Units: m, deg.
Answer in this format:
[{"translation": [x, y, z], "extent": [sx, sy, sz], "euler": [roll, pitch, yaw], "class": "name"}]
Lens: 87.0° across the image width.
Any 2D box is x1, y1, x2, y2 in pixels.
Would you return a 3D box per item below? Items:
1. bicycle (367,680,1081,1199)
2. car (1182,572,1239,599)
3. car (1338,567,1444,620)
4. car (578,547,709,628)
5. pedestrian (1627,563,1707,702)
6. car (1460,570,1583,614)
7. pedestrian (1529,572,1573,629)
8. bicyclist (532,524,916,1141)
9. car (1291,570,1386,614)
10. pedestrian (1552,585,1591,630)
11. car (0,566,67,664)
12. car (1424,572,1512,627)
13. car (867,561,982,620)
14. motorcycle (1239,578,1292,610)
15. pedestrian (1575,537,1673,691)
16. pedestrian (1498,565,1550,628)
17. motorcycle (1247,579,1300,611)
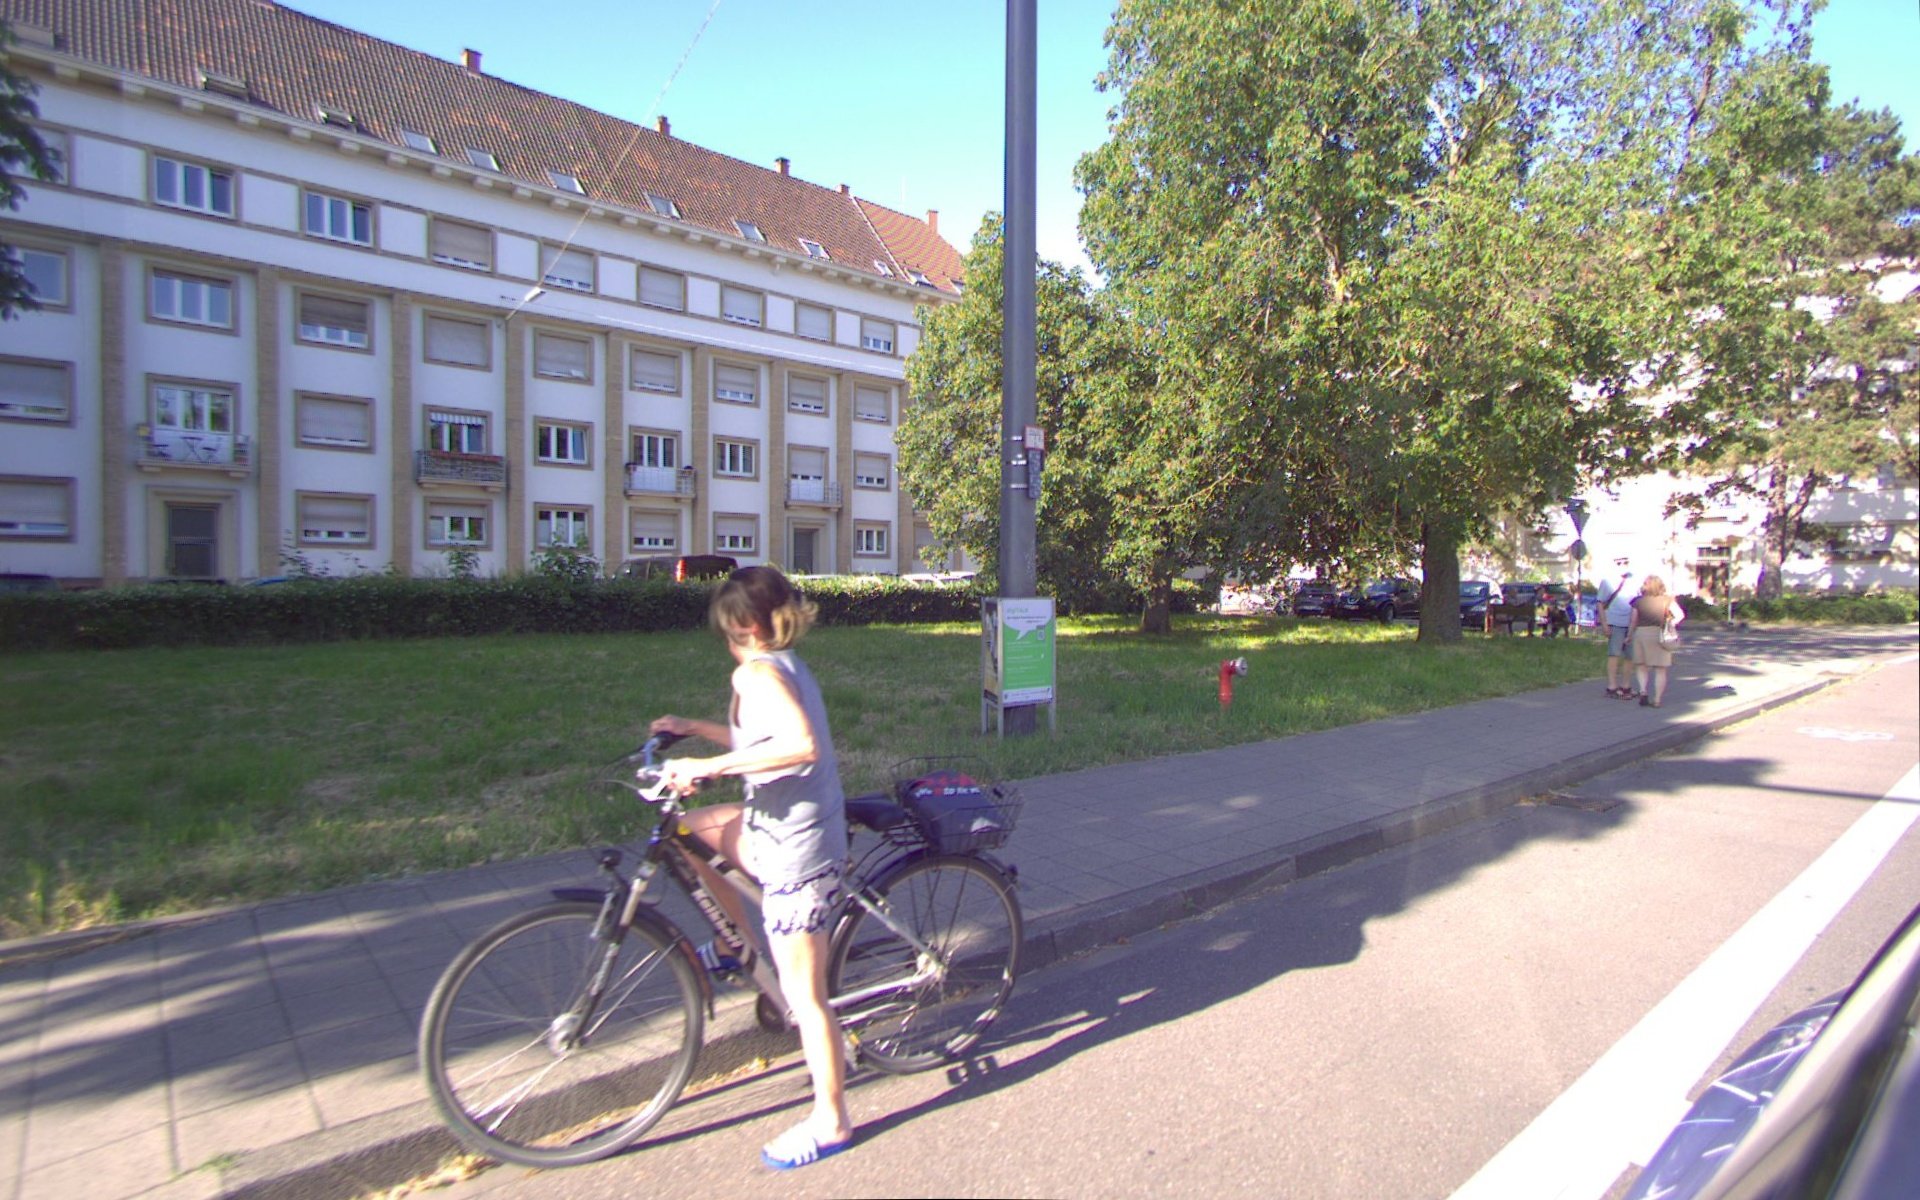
[{"translation": [-0.544, 0.779, 2.747], "extent": [1.770, 0.985, 0.649], "euler": [-1, -1, -38], "class": "bicycle"}, {"translation": [16.320, -0.926, 66.230], "extent": [1.762, 1.631, 4.007], "euler": [-1, -1, -17], "class": "car"}, {"translation": [14.000, -0.226, 32.819], "extent": [3.738, 1.591, 1.456], "euler": [-1, 2, -37], "class": "car"}, {"translation": [-7.864, -0.258, 24.951], "extent": [1.736, 1.817, 3.995], "euler": [-1, -1, -39], "class": "car"}, {"translation": [8.155, 0.354, 11.678], "extent": [0.615, 1.547, 0.531], "euler": [-1, 3, -35], "class": "pedestrian"}, {"translation": [22.510, -0.383, 40.773], "extent": [1.733, 1.519, 4.316], "euler": [-3, 3, -16], "class": "car"}, {"translation": [13.093, 0.006, 22.421], "extent": [0.745, 1.242, 0.405], "euler": [-1, -1, -13], "class": "pedestrian"}, {"translation": [-0.634, 0.503, 2.703], "extent": [0.788, 1.340, 0.639], "euler": [-1, -1, -38], "class": "bicyclist"}, {"translation": [13.656, -0.313, 36.402], "extent": [1.636, 1.458, 4.174], "euler": [3, 3, 44], "class": "car"}, {"translation": [13.289, 0.169, 21.987], "extent": [0.610, 0.946, 0.405], "euler": [1, -1, -13], "class": "pedestrian"}, {"translation": [-16.229, 0.193, 17.202], "extent": [1.548, 1.548, 3.253], "euler": [-1, 2, -41], "class": "car"}, {"translation": [15.279, -0.065, 30.356], "extent": [1.632, 1.512, 3.757], "euler": [2, 2, 38], "class": "car"}, {"translation": [-1.241, -0.274, 33.410], "extent": [1.736, 1.817, 3.995], "euler": [-1, -1, -39], "class": "car"}, {"translation": [11.536, -0.246, 38.221], "extent": [1.772, 1.085, 0.705], "euler": [4, 2, 34], "class": "motorcycle"}, {"translation": [8.153, 0.150, 12.439], "extent": [0.681, 1.811, 0.706], "euler": [1, 3, -35], "class": "pedestrian"}, {"translation": [12.871, -0.080, 23.105], "extent": [0.739, 1.391, 0.688], "euler": [-1, -1, -13], "class": "pedestrian"}, {"translation": [12.037, -0.206, 38.840], "extent": [1.772, 1.085, 0.705], "euler": [4, 2, 34], "class": "motorcycle"}]
